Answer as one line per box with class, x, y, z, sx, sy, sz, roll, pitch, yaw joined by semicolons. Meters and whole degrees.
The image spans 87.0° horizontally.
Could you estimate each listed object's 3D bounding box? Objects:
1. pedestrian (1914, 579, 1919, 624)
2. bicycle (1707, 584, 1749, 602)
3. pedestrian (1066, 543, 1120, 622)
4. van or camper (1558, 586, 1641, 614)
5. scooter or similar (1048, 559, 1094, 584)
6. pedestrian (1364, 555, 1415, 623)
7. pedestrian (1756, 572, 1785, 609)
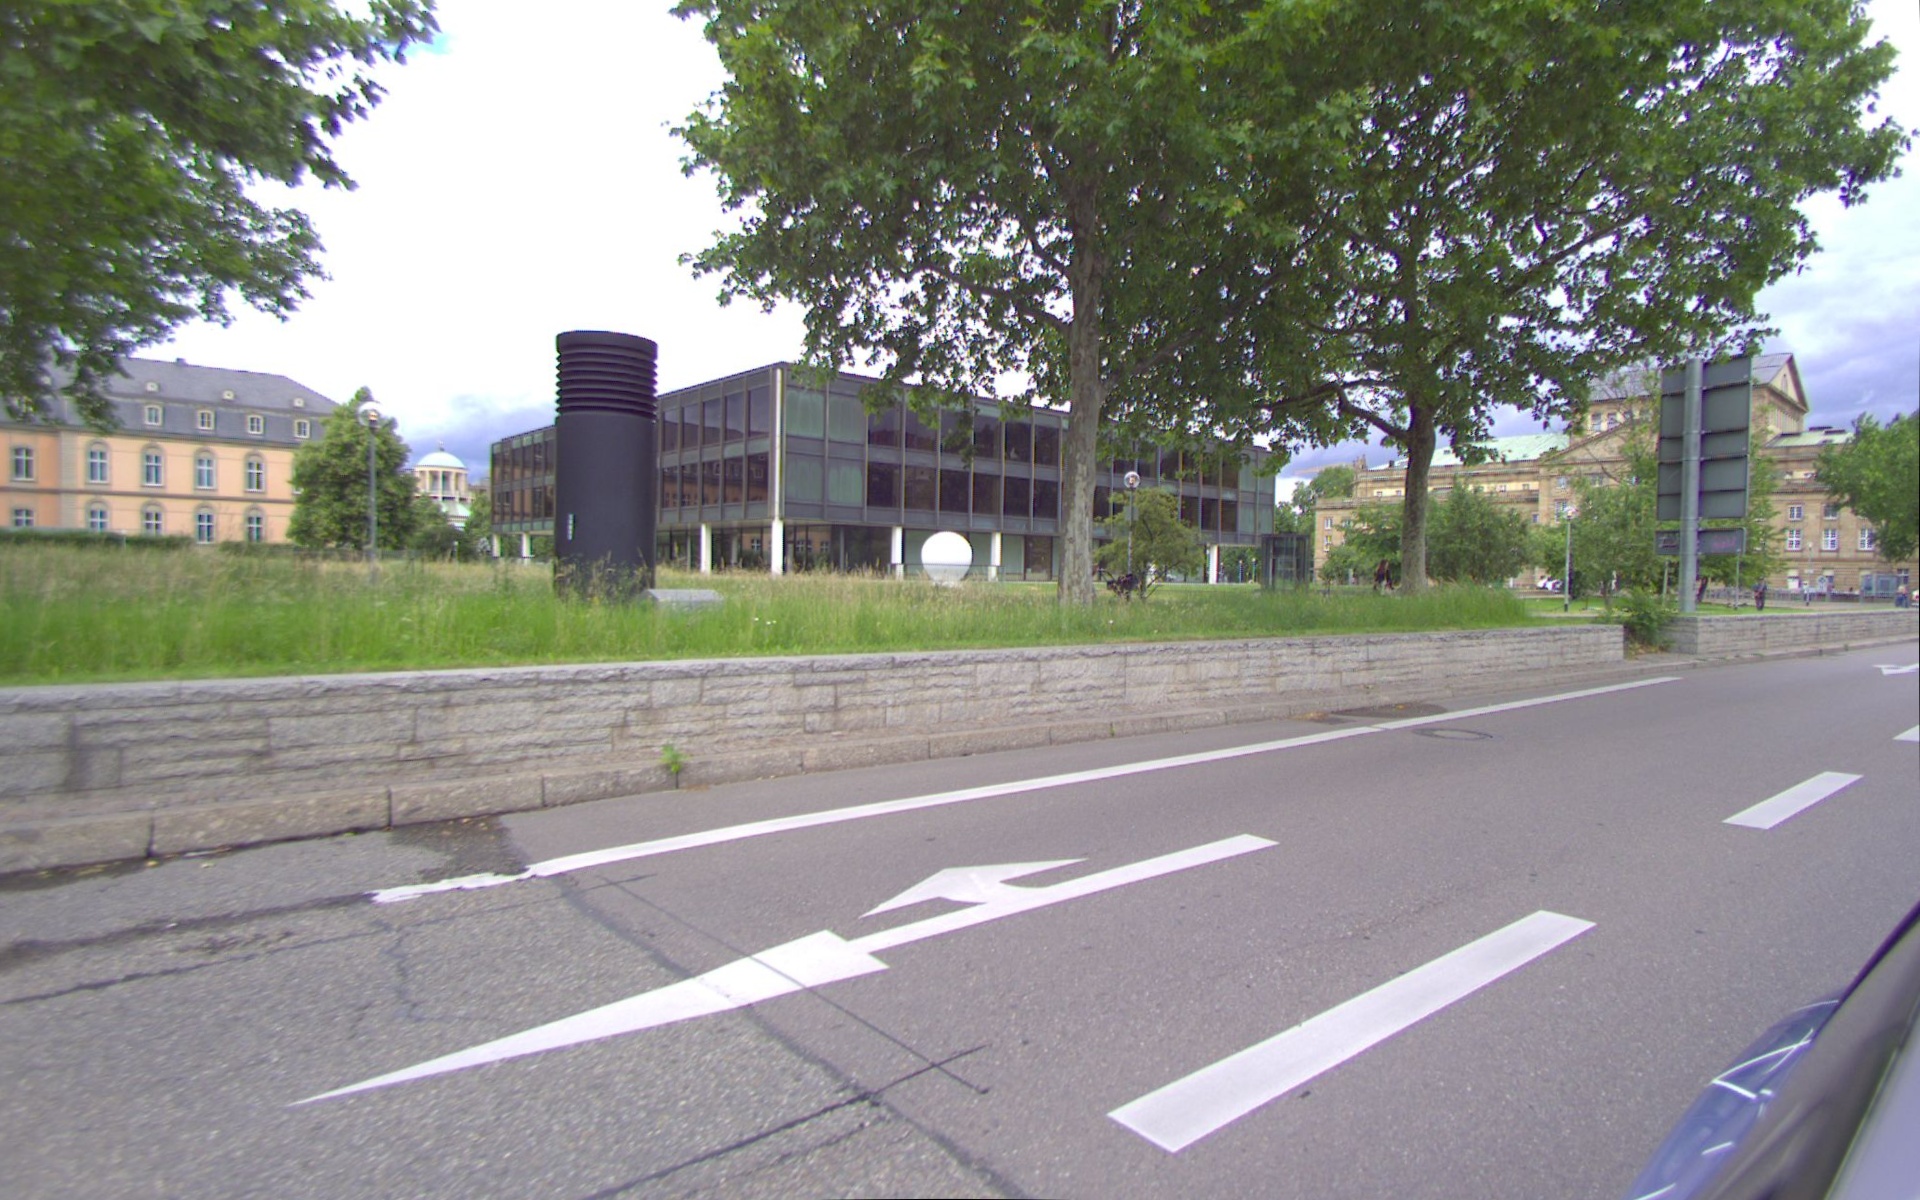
pedestrian;36.163;0.036;37.781;0.672;1.677;0.699;0;-1;-41
bicycle;52.897;-0.499;69.686;0.673;1.156;2.197;1;1;-40
pedestrian;3.173;-0.412;24.217;1.008;1.860;1.001;0;-1;-9
van or camper;56.032;-0.055;88.749;2.280;2.348;5.708;-1;1;-40
scooter or similar;2.576;-0.655;23.468;0.881;0.559;0.619;0;-1;-40
pedestrian;11.390;-0.273;26.823;0.951;1.755;0.897;1;-2;-40
pedestrian;36.087;-0.425;45.084;0.614;1.646;0.805;2;1;-32
